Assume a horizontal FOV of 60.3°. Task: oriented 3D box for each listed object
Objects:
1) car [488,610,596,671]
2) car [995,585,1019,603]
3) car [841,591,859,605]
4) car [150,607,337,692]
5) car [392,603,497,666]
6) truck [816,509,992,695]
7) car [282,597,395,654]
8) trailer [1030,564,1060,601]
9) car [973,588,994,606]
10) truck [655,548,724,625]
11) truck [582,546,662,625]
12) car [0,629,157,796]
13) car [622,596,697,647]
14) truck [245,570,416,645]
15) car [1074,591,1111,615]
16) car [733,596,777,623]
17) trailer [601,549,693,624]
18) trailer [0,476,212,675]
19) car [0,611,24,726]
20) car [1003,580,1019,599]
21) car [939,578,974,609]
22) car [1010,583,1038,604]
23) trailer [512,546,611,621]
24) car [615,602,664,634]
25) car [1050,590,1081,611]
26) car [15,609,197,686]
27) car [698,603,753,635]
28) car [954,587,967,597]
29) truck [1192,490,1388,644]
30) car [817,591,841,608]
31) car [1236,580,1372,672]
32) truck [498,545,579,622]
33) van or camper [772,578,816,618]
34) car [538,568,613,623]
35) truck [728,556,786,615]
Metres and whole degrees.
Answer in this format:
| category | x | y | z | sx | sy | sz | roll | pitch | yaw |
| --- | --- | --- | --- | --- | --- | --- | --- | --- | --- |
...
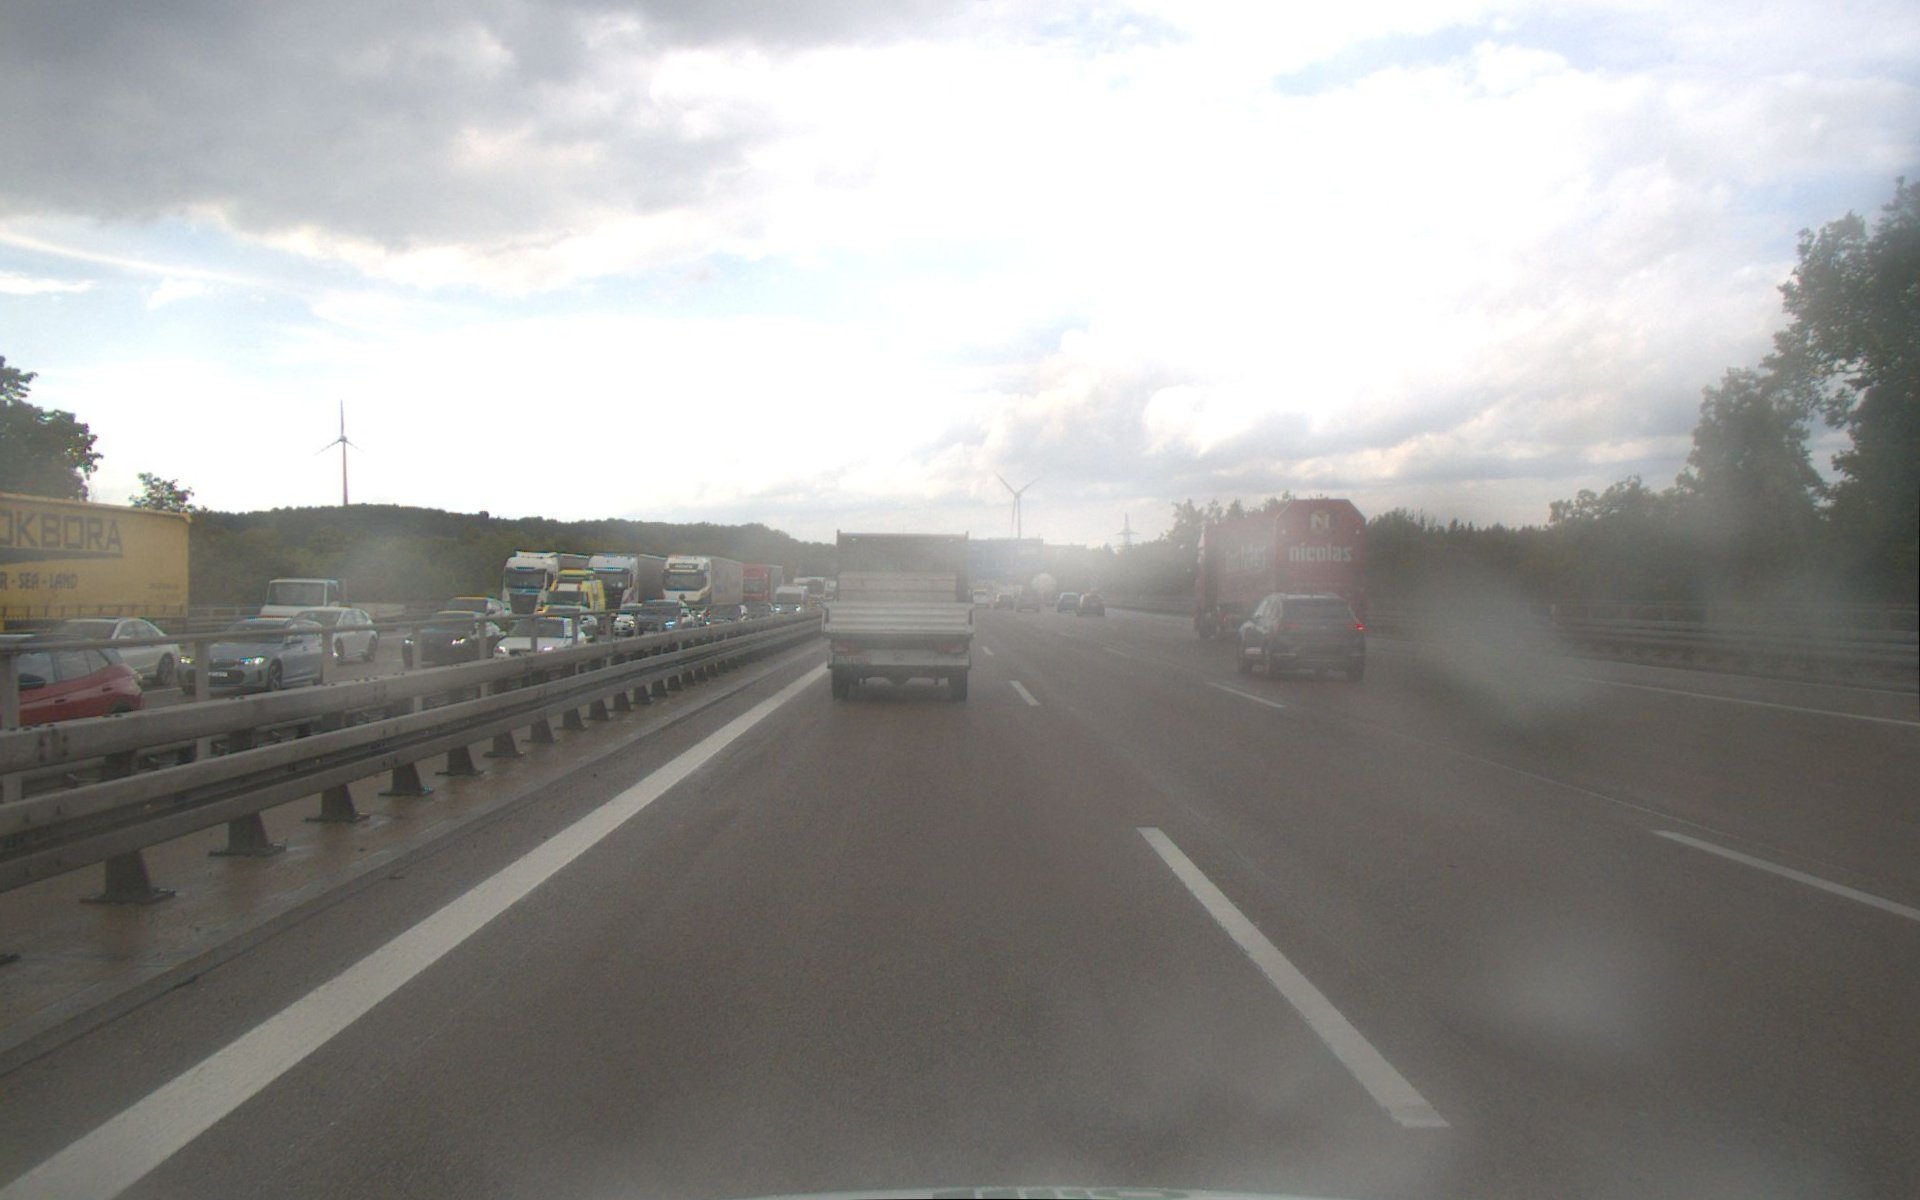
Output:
| category | x | y | z | sx | sy | sz | roll | pitch | yaw |
| --- | --- | --- | --- | --- | --- | --- | --- | --- | --- |
| car | -10.718 | 0.998 | 42.707 | 1.727 | 1.407 | 4.818 | -1 | 0 | -2 |
| car | 4.405 | -0.574 | 155.850 | 2.004 | 1.729 | 3.999 | 0 | 1 | -2 |
| car | -11.472 | -0.209 | 172.165 | 1.540 | 1.377 | 4.384 | -1 | 1 | 1 |
| car | -14.453 | 0.942 | 33.705 | 1.773 | 1.506 | 5.217 | -1 | 0 | -3 |
| car | -14.347 | 0.924 | 46.254 | 1.712 | 1.604 | 4.416 | -1 | 0 | -2 |
| truck | -0.884 | -0.014 | 25.616 | 2.306 | 2.450 | 7.355 | 1 | 1 | -2 |
| car | -17.885 | 0.697 | 47.799 | 1.712 | 1.505 | 4.416 | -1 | 0 | -2 |
| trailer | 10.155 | -2.062 | 199.023 | 3.264 | 4.248 | 11.840 | 1 | 0 | 1 |
| car | 2.401 | -0.298 | 167.062 | 1.932 | 1.729 | 3.998 | 0 | 1 | -2 |
| truck | -15.627 | -0.783 | 96.010 | 2.822 | 4.253 | 7.556 | -1 | 0 | -1 |
| truck | -18.863 | -0.810 | 92.663 | 2.844 | 4.219 | 7.102 | -1 | 0 | 1 |
| car | -10.202 | 1.127 | 16.753 | 1.954 | 1.488 | 4.839 | -1 | 1 | -3 |
| car | -11.173 | 0.760 | 61.926 | 1.874 | 1.797 | 5.331 | -1 | 0 | -1 |
| truck | -22.287 | 0.215 | 59.184 | 2.626 | 2.413 | 9.273 | -1 | 0 | -1 |
| car | 9.429 | 0.173 | 117.938 | 2.062 | 1.633 | 5.063 | 0 | 1 | -2 |
| car | -11.567 | 0.522 | 93.484 | 1.883 | 1.443 | 5.164 | -1 | 0 | -1 |
| trailer | -18.729 | -0.825 | 99.853 | 2.821 | 4.218 | 13.030 | -1 | 0 | 1 |
| trailer | -22.423 | -0.528 | 38.890 | 3.181 | 4.302 | 14.507 | -1 | 0 | -1 |
| car | -14.507 | 1.004 | 21.972 | 1.744 | 1.640 | 4.574 | -1 | 0 | -3 |
| car | 6.716 | -1.384 | 216.662 | 2.003 | 2.541 | 4.001 | 0 | 1 | 1 |
| car | -0.184 | -0.391 | 96.097 | 2.003 | 1.729 | 4.001 | 0 | 1 | 1 |
| car | 5.369 | -0.576 | 139.335 | 2.055 | 1.729 | 3.998 | 0 | 1 | -2 |
| trailer | -23.262 | -0.965 | 97.379 | 2.701 | 4.063 | 12.308 | -1 | 0 | 1 |
| car | -15.273 | 0.829 | 78.930 | 1.569 | 1.411 | 4.099 | -1 | 0 | -1 |
| car | 8.974 | 0.005 | 140.837 | 2.005 | 1.729 | 5.003 | 0 | 1 | -4 |
| car | -17.897 | 0.953 | 34.868 | 1.786 | 1.463 | 4.052 | -1 | 0 | -1 |
| car | -11.482 | 0.907 | 81.211 | 1.974 | 1.411 | 5.458 | -1 | 0 | -1 |
| car | 0.008 | -1.174 | 245.555 | 1.776 | 1.471 | 3.999 | -1 | 0 | -2 |
| truck | 9.887 | -0.975 | 51.848 | 3.088 | 4.073 | 15.637 | 0 | 1 | 0 |
| car | -11.963 | -0.025 | 151.124 | 1.794 | 1.477 | 4.000 | -1 | 0 | 0 |
| car | 6.329 | 0.449 | 30.778 | 1.755 | 1.589 | 3.721 | 0 | 0 | 0 |
| truck | -23.326 | -0.905 | 91.846 | 2.702 | 4.063 | 6.577 | -1 | 0 | 1 |
| van or camper | -10.908 | -0.149 | 109.411 | 2.232 | 2.539 | 7.301 | -1 | 0 | -1 |
| car | -18.560 | -0.232 | 80.260 | 2.112 | 2.548 | 6.771 | -1 | 0 | -1 |
| truck | -15.388 | -1.083 | 126.218 | 2.923 | 4.221 | 12.521 | -1 | 0 | -1 |
